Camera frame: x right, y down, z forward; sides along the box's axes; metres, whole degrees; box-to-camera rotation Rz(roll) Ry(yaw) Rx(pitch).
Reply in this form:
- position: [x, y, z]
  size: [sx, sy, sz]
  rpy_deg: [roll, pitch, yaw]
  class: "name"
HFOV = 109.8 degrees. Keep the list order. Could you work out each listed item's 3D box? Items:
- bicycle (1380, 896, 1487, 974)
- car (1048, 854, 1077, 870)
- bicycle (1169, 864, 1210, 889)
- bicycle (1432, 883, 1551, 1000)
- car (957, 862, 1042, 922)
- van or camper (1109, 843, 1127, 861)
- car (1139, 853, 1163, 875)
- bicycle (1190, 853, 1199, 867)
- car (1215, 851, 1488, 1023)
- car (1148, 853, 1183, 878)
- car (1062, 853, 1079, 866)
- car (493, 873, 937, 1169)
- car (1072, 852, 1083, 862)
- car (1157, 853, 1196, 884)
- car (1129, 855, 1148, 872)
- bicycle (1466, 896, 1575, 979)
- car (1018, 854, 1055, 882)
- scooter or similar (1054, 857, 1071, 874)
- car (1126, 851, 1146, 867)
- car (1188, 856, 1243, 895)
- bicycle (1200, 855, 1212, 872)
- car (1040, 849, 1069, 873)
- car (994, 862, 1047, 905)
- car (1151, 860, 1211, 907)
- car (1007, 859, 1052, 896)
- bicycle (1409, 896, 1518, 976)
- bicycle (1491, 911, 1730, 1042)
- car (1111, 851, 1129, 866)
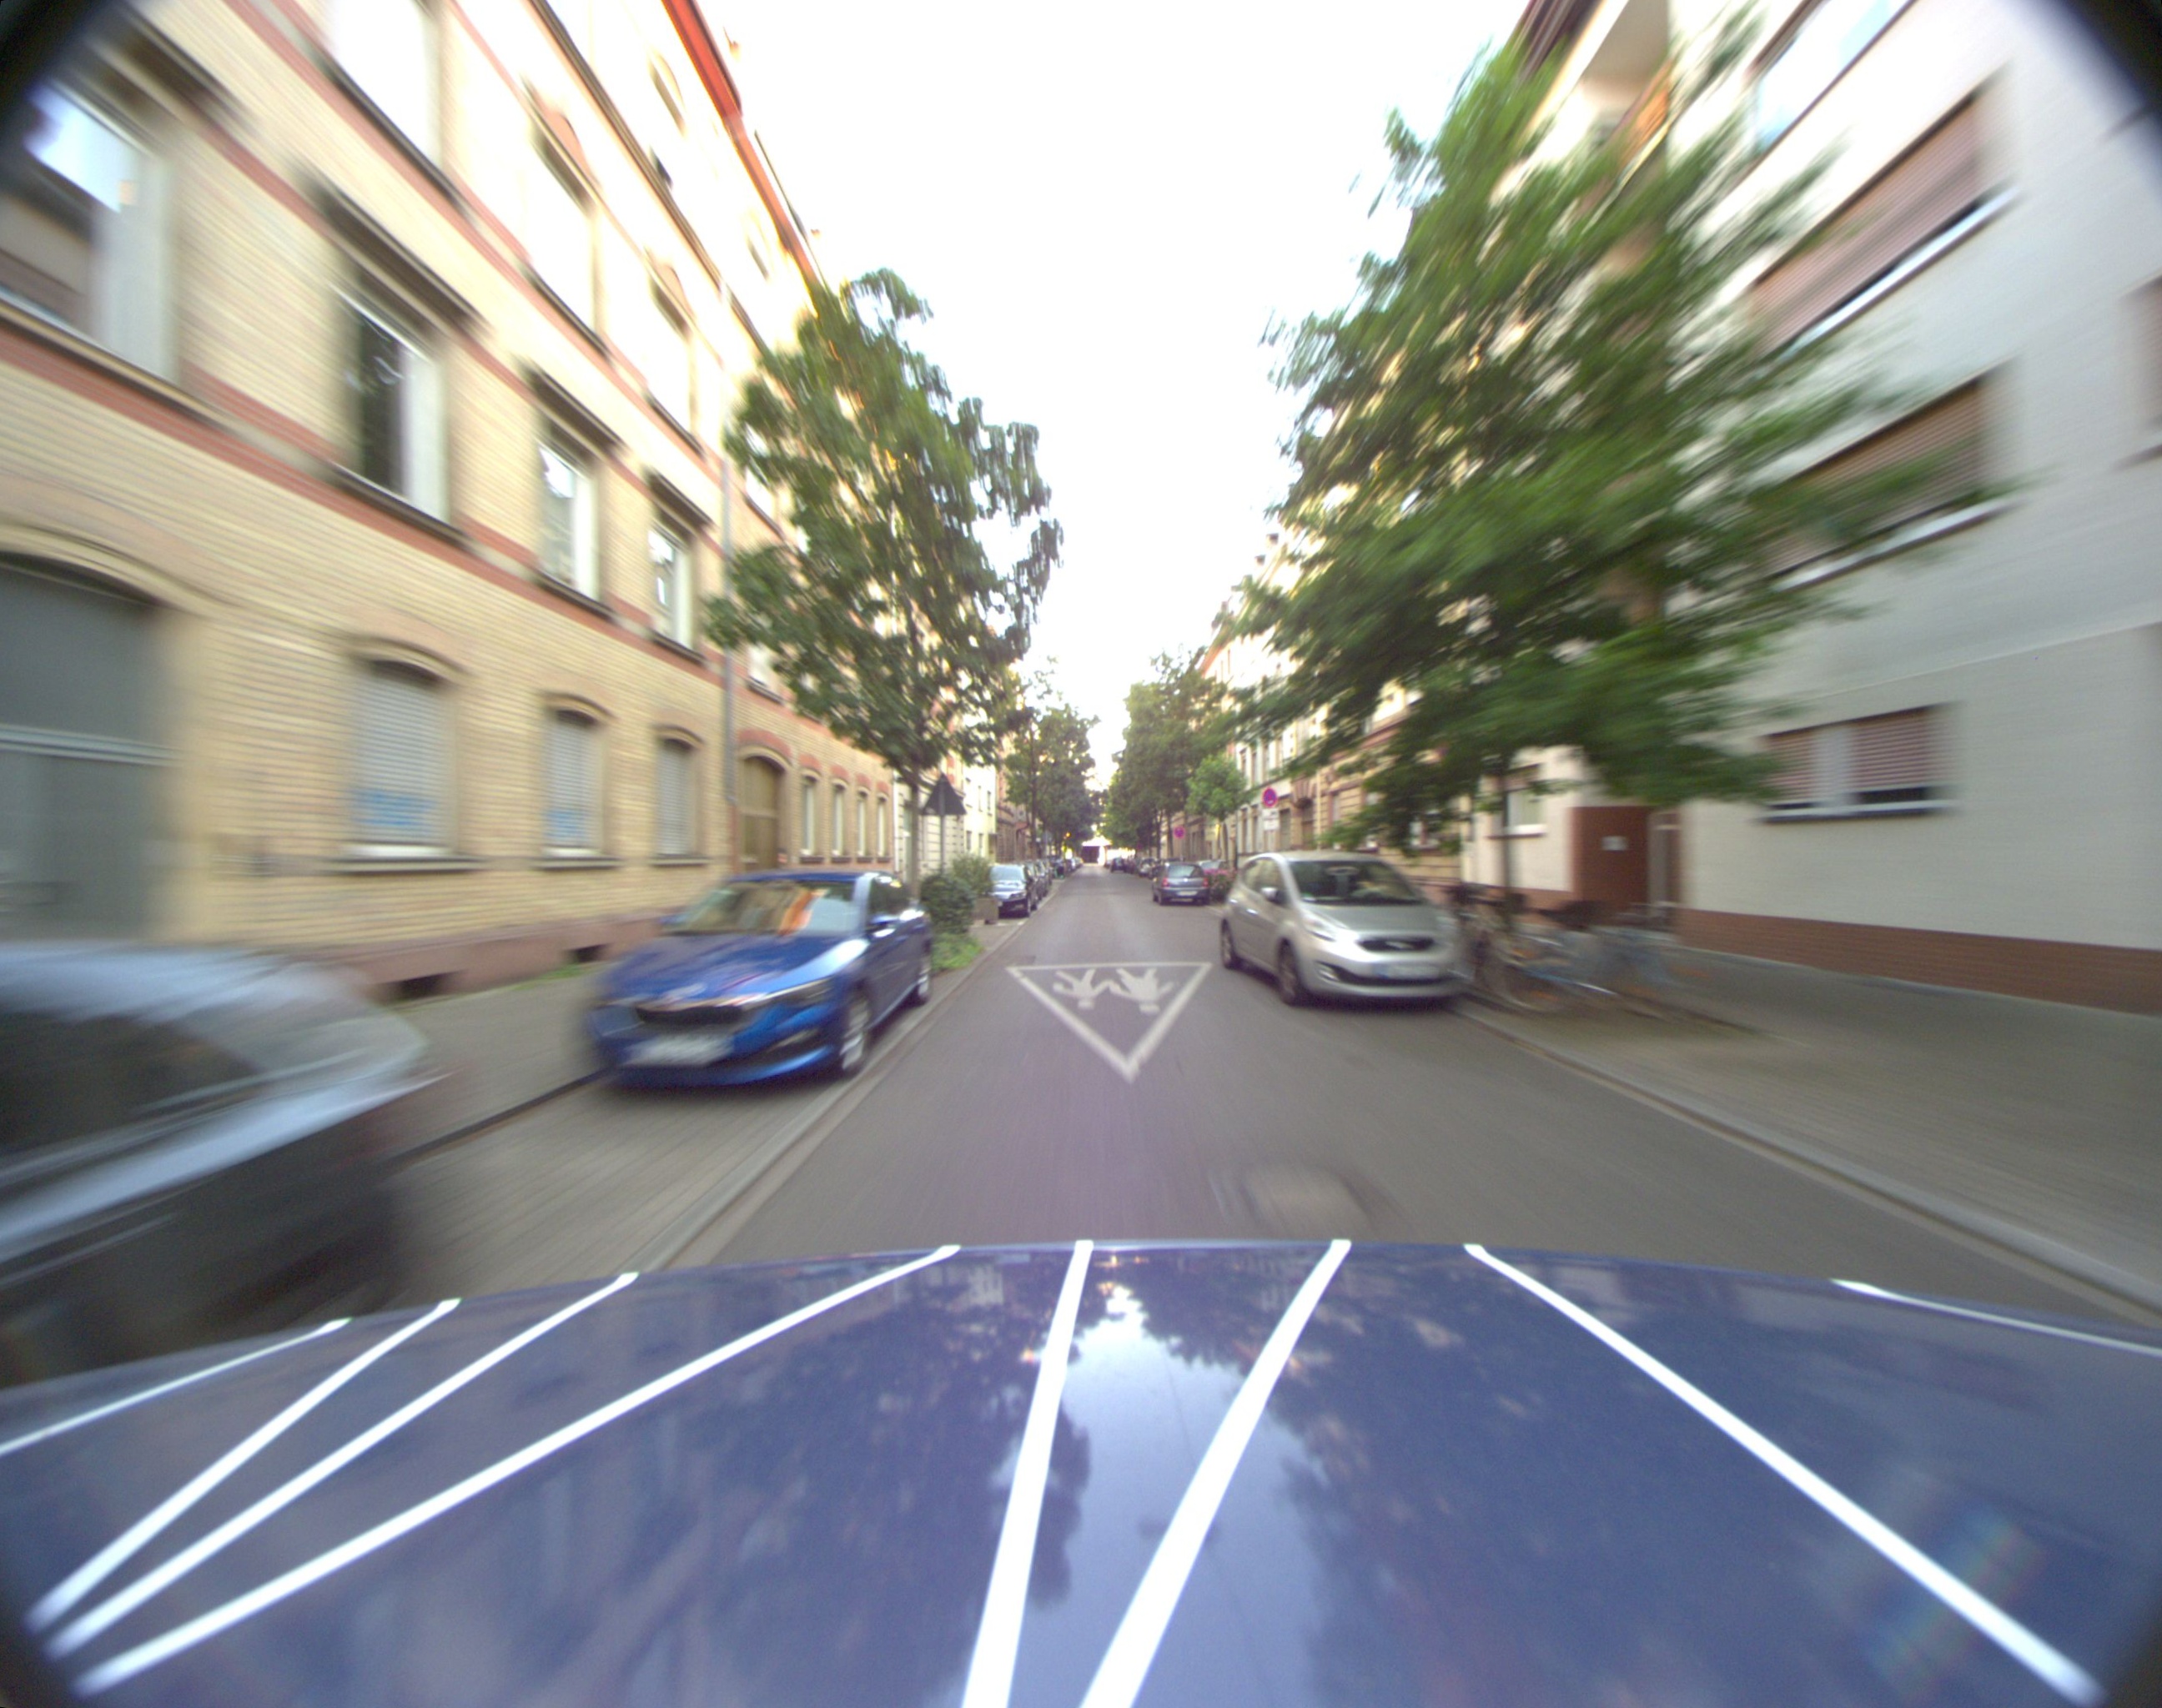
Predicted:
- position: [4.881, 1.087, 10.490]
  size: [1.707, 0.902, 0.383]
  rpy_deg: [-2, 1, -29]
  class: "bicycle"
- position: [-1.888, 0.802, 77.592]
  size: [2.804, 1.590, 1.800]
  rpy_deg: [2, 1, 1]
  class: "car"
- position: [5.064, 1.047, 35.630]
  size: [1.823, 1.078, 0.670]
  rpy_deg: [-1, 2, 44]
  class: "bicycle"
- position: [4.558, 0.922, 8.548]
  size: [0.420, 1.097, 1.665]
  rpy_deg: [-2, 1, 0]
  class: "bicycle"
- position: [-2.138, 0.972, 21.062]
  size: [1.771, 1.407, 4.473]
  rpy_deg: [1, 0, 1]
  class: "car"
- position: [4.991, -0.264, 102.201]
  size: [2.225, 2.417, 5.660]
  rpy_deg: [-1, 0, 1]
  class: "van or camper"
- position: [5.552, 0.786, 60.686]
  size: [1.680, 1.598, 3.862]
  rpy_deg: [-2, 0, 3]
  class: "car"
- position: [9.002, 0.465, 60.440]
  size: [0.462, 1.083, 1.630]
  rpy_deg: [-4, -1, 2]
  class: "bicycle"
- position: [2.844, 0.750, 8.984]
  size: [1.668, 1.554, 3.999]
  rpy_deg: [-1, 0, -2]
  class: "car"
- position: [5.591, 0.709, 50.822]
  size: [1.810, 1.509, 4.685]
  rpy_deg: [-3, 0, 1]
  class: "car"
- position: [-1.172, 0.595, 86.971]
  size: [1.737, 1.482, 4.104]
  rpy_deg: [-1, 0, 1]
  class: "car"
- position: [-2.374, 0.954, 6.235]
  size: [1.632, 1.458, 4.245]
  rpy_deg: [-1, 0, -1]
  class: "car"
- position: [-0.538, 0.487, 124.325]
  size: [1.835, 1.530, 4.123]
  rpy_deg: [-1, 0, 1]
  class: "car"
- position: [5.224, 0.782, 42.077]
  size: [1.710, 1.571, 4.078]
  rpy_deg: [-3, 0, 2]
  class: "car"
- position: [5.576, 0.901, 73.446]
  size: [1.523, 1.493, 3.561]
  rpy_deg: [-3, 1, 1]
  class: "car"
- position: [5.633, 1.036, 9.705]
  size: [1.667, 0.893, 0.383]
  rpy_deg: [-2, 1, -29]
  class: "bicycle"
- position: [-2.406, 0.725, 42.051]
  size: [1.763, 1.454, 4.307]
  rpy_deg: [-1, 0, 0]
  class: "car"
- position: [-1.348, 0.852, 55.513]
  size: [0.673, 1.183, 1.118]
  rpy_deg: [2, 2, 40]
  class: "scooter or similar"
- position: [5.577, 0.503, 77.241]
  size: [1.695, 1.493, 3.711]
  rpy_deg: [-3, 0, 0]
  class: "car"
- position: [5.475, 0.844, 31.246]
  size: [1.591, 1.428, 3.566]
  rpy_deg: [-3, 0, 1]
  class: "car"
- position: [8.665, 0.646, 52.766]
  size: [0.527, 1.091, 1.795]
  rpy_deg: [-1, 0, 1]
  class: "bicycle"
- position: [-2.012, 0.526, 59.748]
  size: [2.018, 1.822, 4.811]
  rpy_deg: [1, 0, 1]
  class: "car"
- position: [-2.139, 1.018, 27.525]
  size: [1.640, 1.415, 3.564]
  rpy_deg: [0, 0, 0]
  class: "car"
- position: [3.339, 0.935, 25.886]
  size: [1.584, 1.412, 3.753]
  rpy_deg: [-1, 0, 1]
  class: "car"
- position: [-2.182, 0.954, 33.135]
  size: [1.721, 1.467, 4.367]
  rpy_deg: [0, 0, -1]
  class: "car"
- position: [5.094, 1.056, 10.084]
  size: [1.707, 0.893, 0.383]
  rpy_deg: [-2, 1, -29]
  class: "bicycle"
- position: [4.769, 1.059, 6.955]
  size: [1.726, 0.989, 0.578]
  rpy_deg: [-1, 0, 34]
  class: "bicycle"
- position: [4.153, 0.467, 81.570]
  size: [1.728, 1.564, 4.219]
  rpy_deg: [-1, 0, 1]
  class: "car"
